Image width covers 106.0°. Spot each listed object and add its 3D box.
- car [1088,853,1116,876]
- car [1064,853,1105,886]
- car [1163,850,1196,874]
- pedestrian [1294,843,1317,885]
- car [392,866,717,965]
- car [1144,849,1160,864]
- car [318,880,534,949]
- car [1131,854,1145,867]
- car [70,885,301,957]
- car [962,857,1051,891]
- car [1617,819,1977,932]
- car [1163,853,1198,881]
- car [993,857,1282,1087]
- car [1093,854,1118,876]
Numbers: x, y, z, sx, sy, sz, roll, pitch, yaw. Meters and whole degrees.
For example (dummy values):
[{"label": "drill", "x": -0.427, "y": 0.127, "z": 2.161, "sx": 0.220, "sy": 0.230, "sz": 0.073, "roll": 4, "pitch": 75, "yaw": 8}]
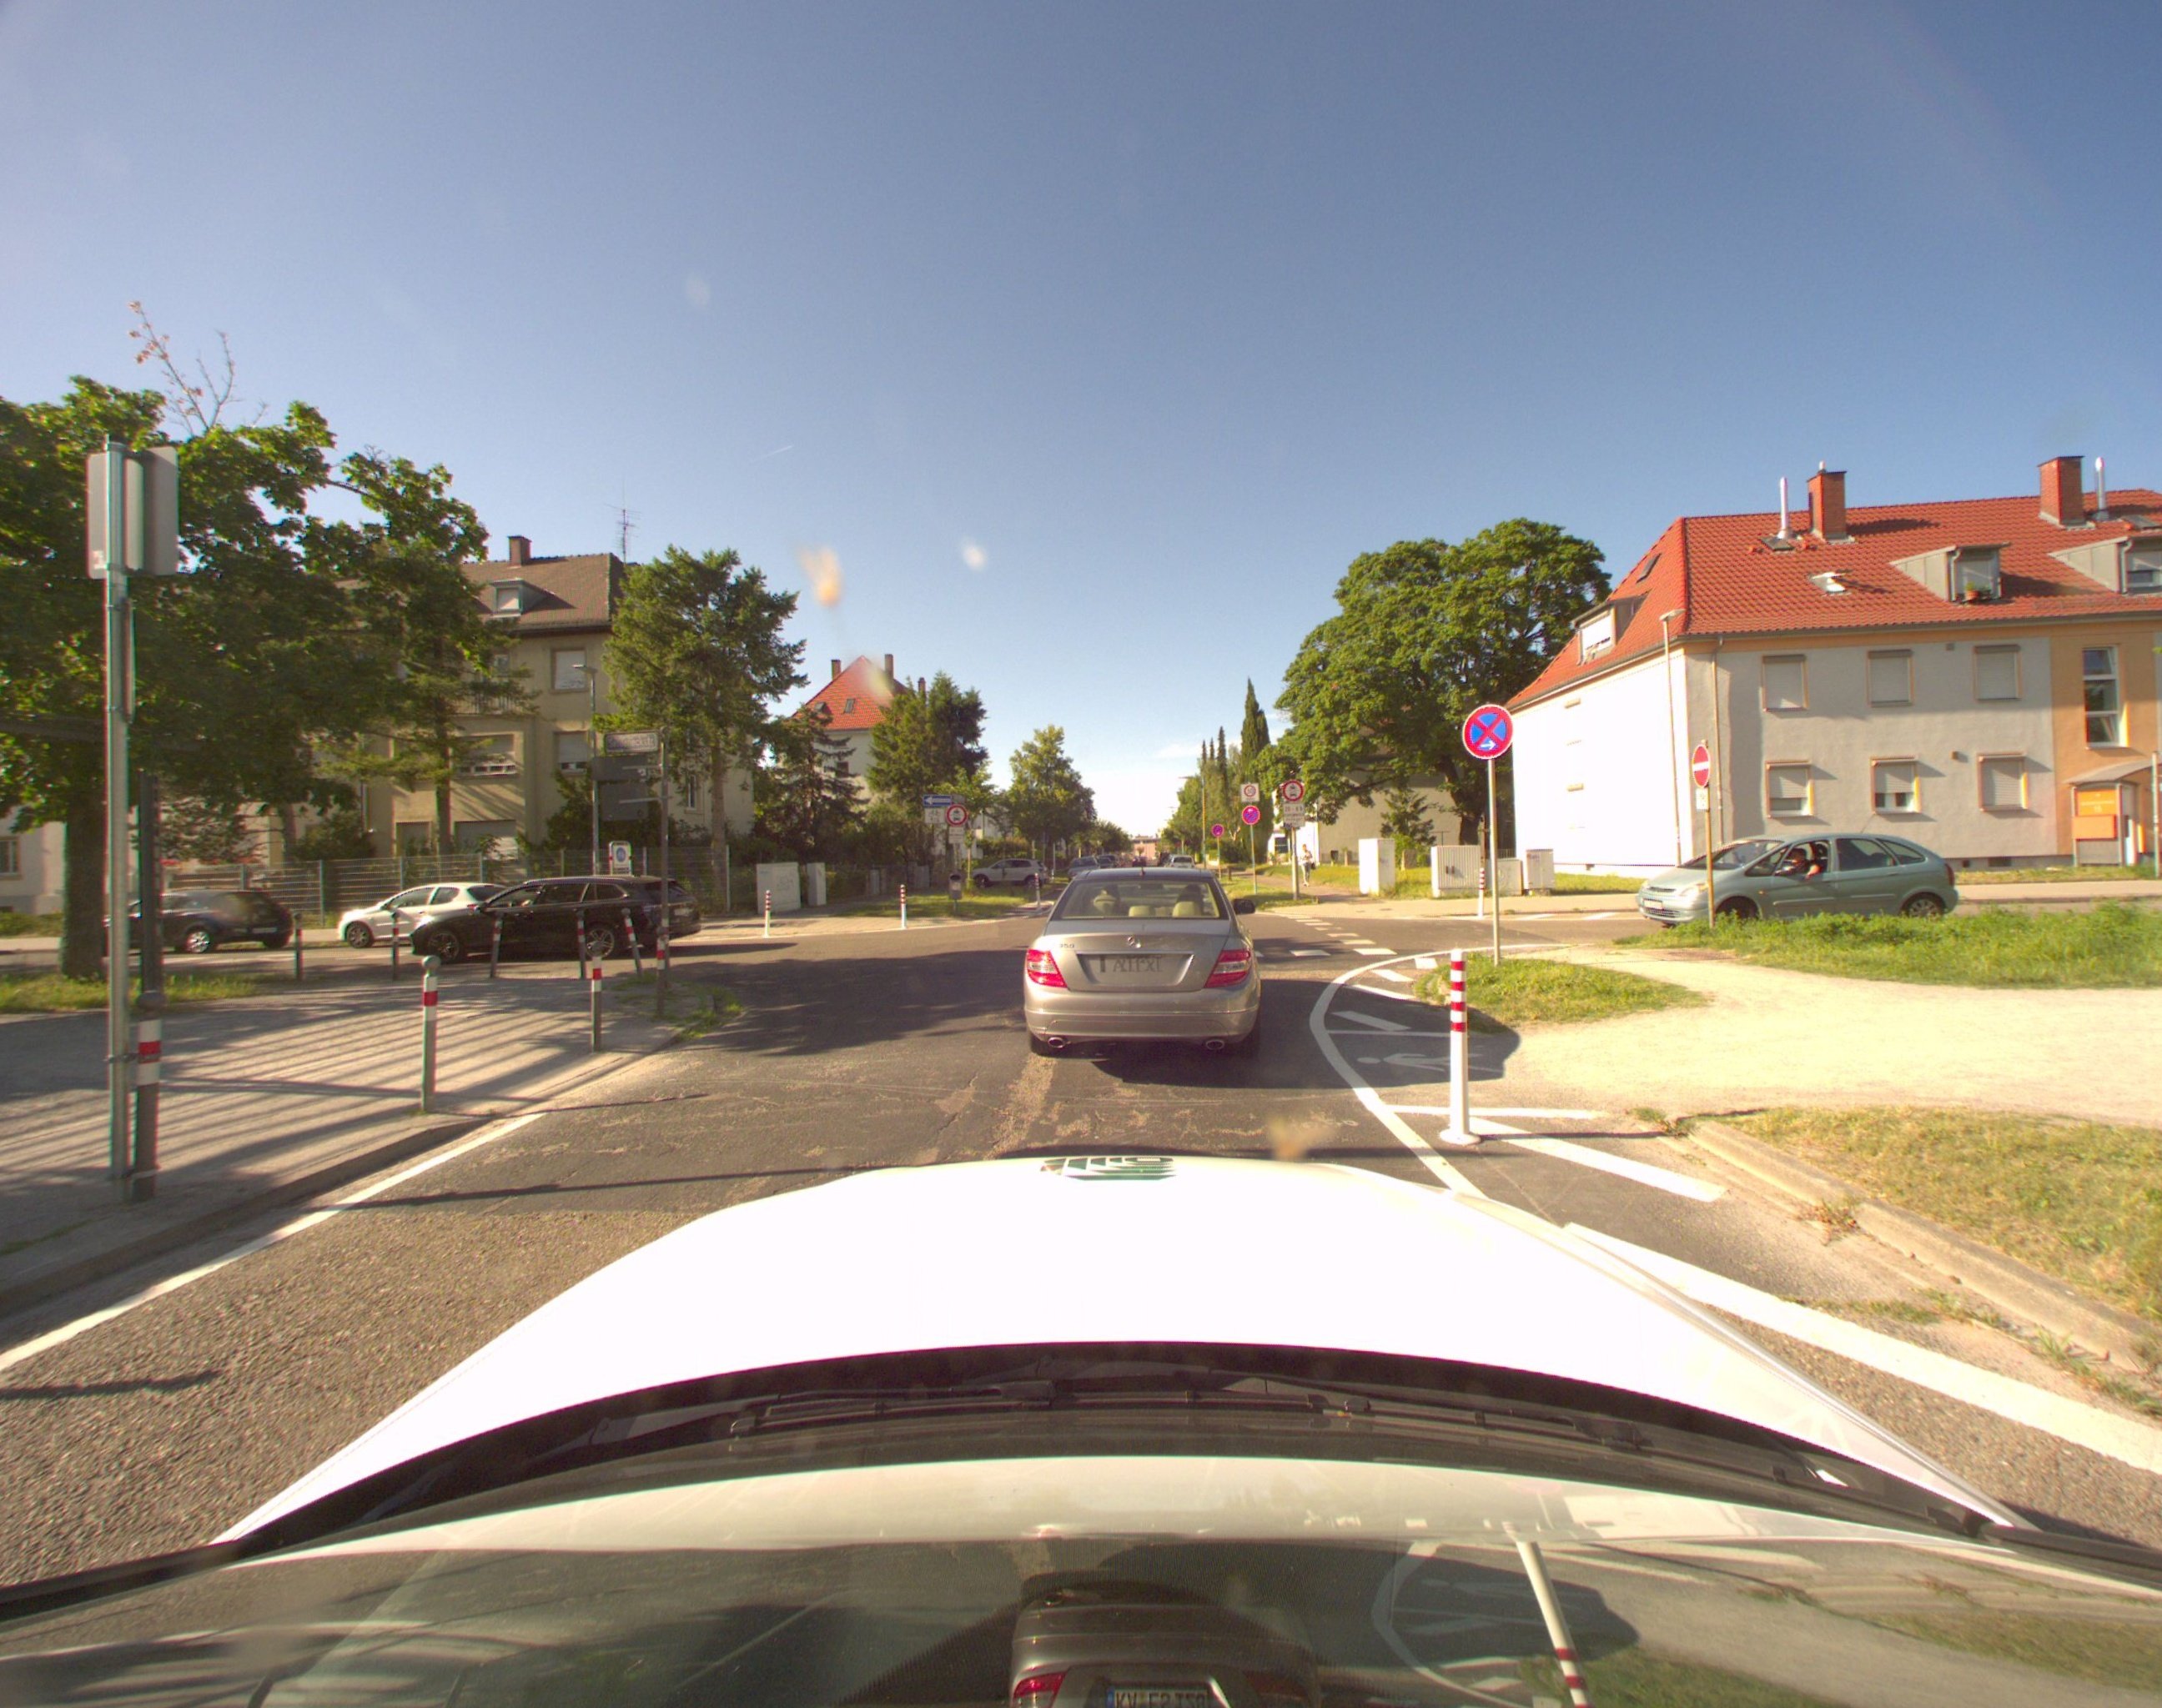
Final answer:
[{"label": "car", "x": 1.686, "y": 0.795, "z": 63.410, "sx": 1.986, "sy": 1.609, "sz": 4.003, "roll": -5, "pitch": 0, "yaw": 2}, {"label": "car", "x": 0.269, "y": 0.812, "z": 45.634, "sx": 1.986, "sy": 1.609, "sz": 4.003, "roll": -5, "pitch": 0, "yaw": 2}, {"label": "car", "x": 7.009, "y": 0.564, "z": 58.386, "sx": 1.985, "sy": 1.609, "sz": 4.003, "roll": -2, "pitch": 0, "yaw": 3}, {"label": "pedestrian", "x": 8.890, "y": 0.396, "z": 32.244, "sx": 0.761, "sy": 1.611, "sz": 0.836, "roll": -2, "pitch": 0, "yaw": 9}, {"label": "car", "x": -9.631, "y": 1.089, "z": 15.187, "sx": 4.722, "sy": 1.524, "sz": 2.001, "roll": -2, "pitch": 0, "yaw": 2}, {"label": "car", "x": 8.982, "y": 0.297, "z": 103.109, "sx": 1.846, "sy": 1.841, "sz": 4.004, "roll": -2, "pitch": 0, "yaw": 4}, {"label": "car", "x": -15.258, "y": 1.394, "z": 19.096, "sx": 3.747, "sy": 1.398, "sz": 1.709, "roll": -2, "pitch": -1, "yaw": 4}, {"label": "car", "x": 7.171, "y": 0.786, "z": 102.702, "sx": 1.591, "sy": 1.609, "sz": 3.646, "roll": -2, "pitch": 0, "yaw": 3}, {"label": "car", "x": -21.127, "y": 1.557, "z": 19.302, "sx": 3.796, "sy": 1.495, "sz": 1.679, "roll": -2, "pitch": -1, "yaw": 4}, {"label": "car", "x": -3.673, "y": 0.977, "z": 40.723, "sx": 4.177, "sy": 1.564, "sz": 1.843, "roll": -1, "pitch": 0, "yaw": 1}, {"label": "car", "x": 11.763, "y": 0.344, "z": 13.652, "sx": 4.213, "sy": 1.608, "sz": 1.891, "roll": -2, "pitch": 0, "yaw": 5}, {"label": "car", "x": 5.754, "y": 0.744, "z": 47.525, "sx": 1.726, "sy": 1.480, "sz": 3.728, "roll": -2, "pitch": 0, "yaw": 3}, {"label": "car", "x": 0.550, "y": 0.775, "z": 7.222, "sx": 1.827, "sy": 1.441, "sz": 4.006, "roll": -1, "pitch": 0, "yaw": 6}, {"label": "car", "x": 2.107, "y": 0.933, "z": 69.195, "sx": 1.986, "sy": 1.609, "sz": 4.003, "roll": -5, "pitch": 0, "yaw": 2}]
